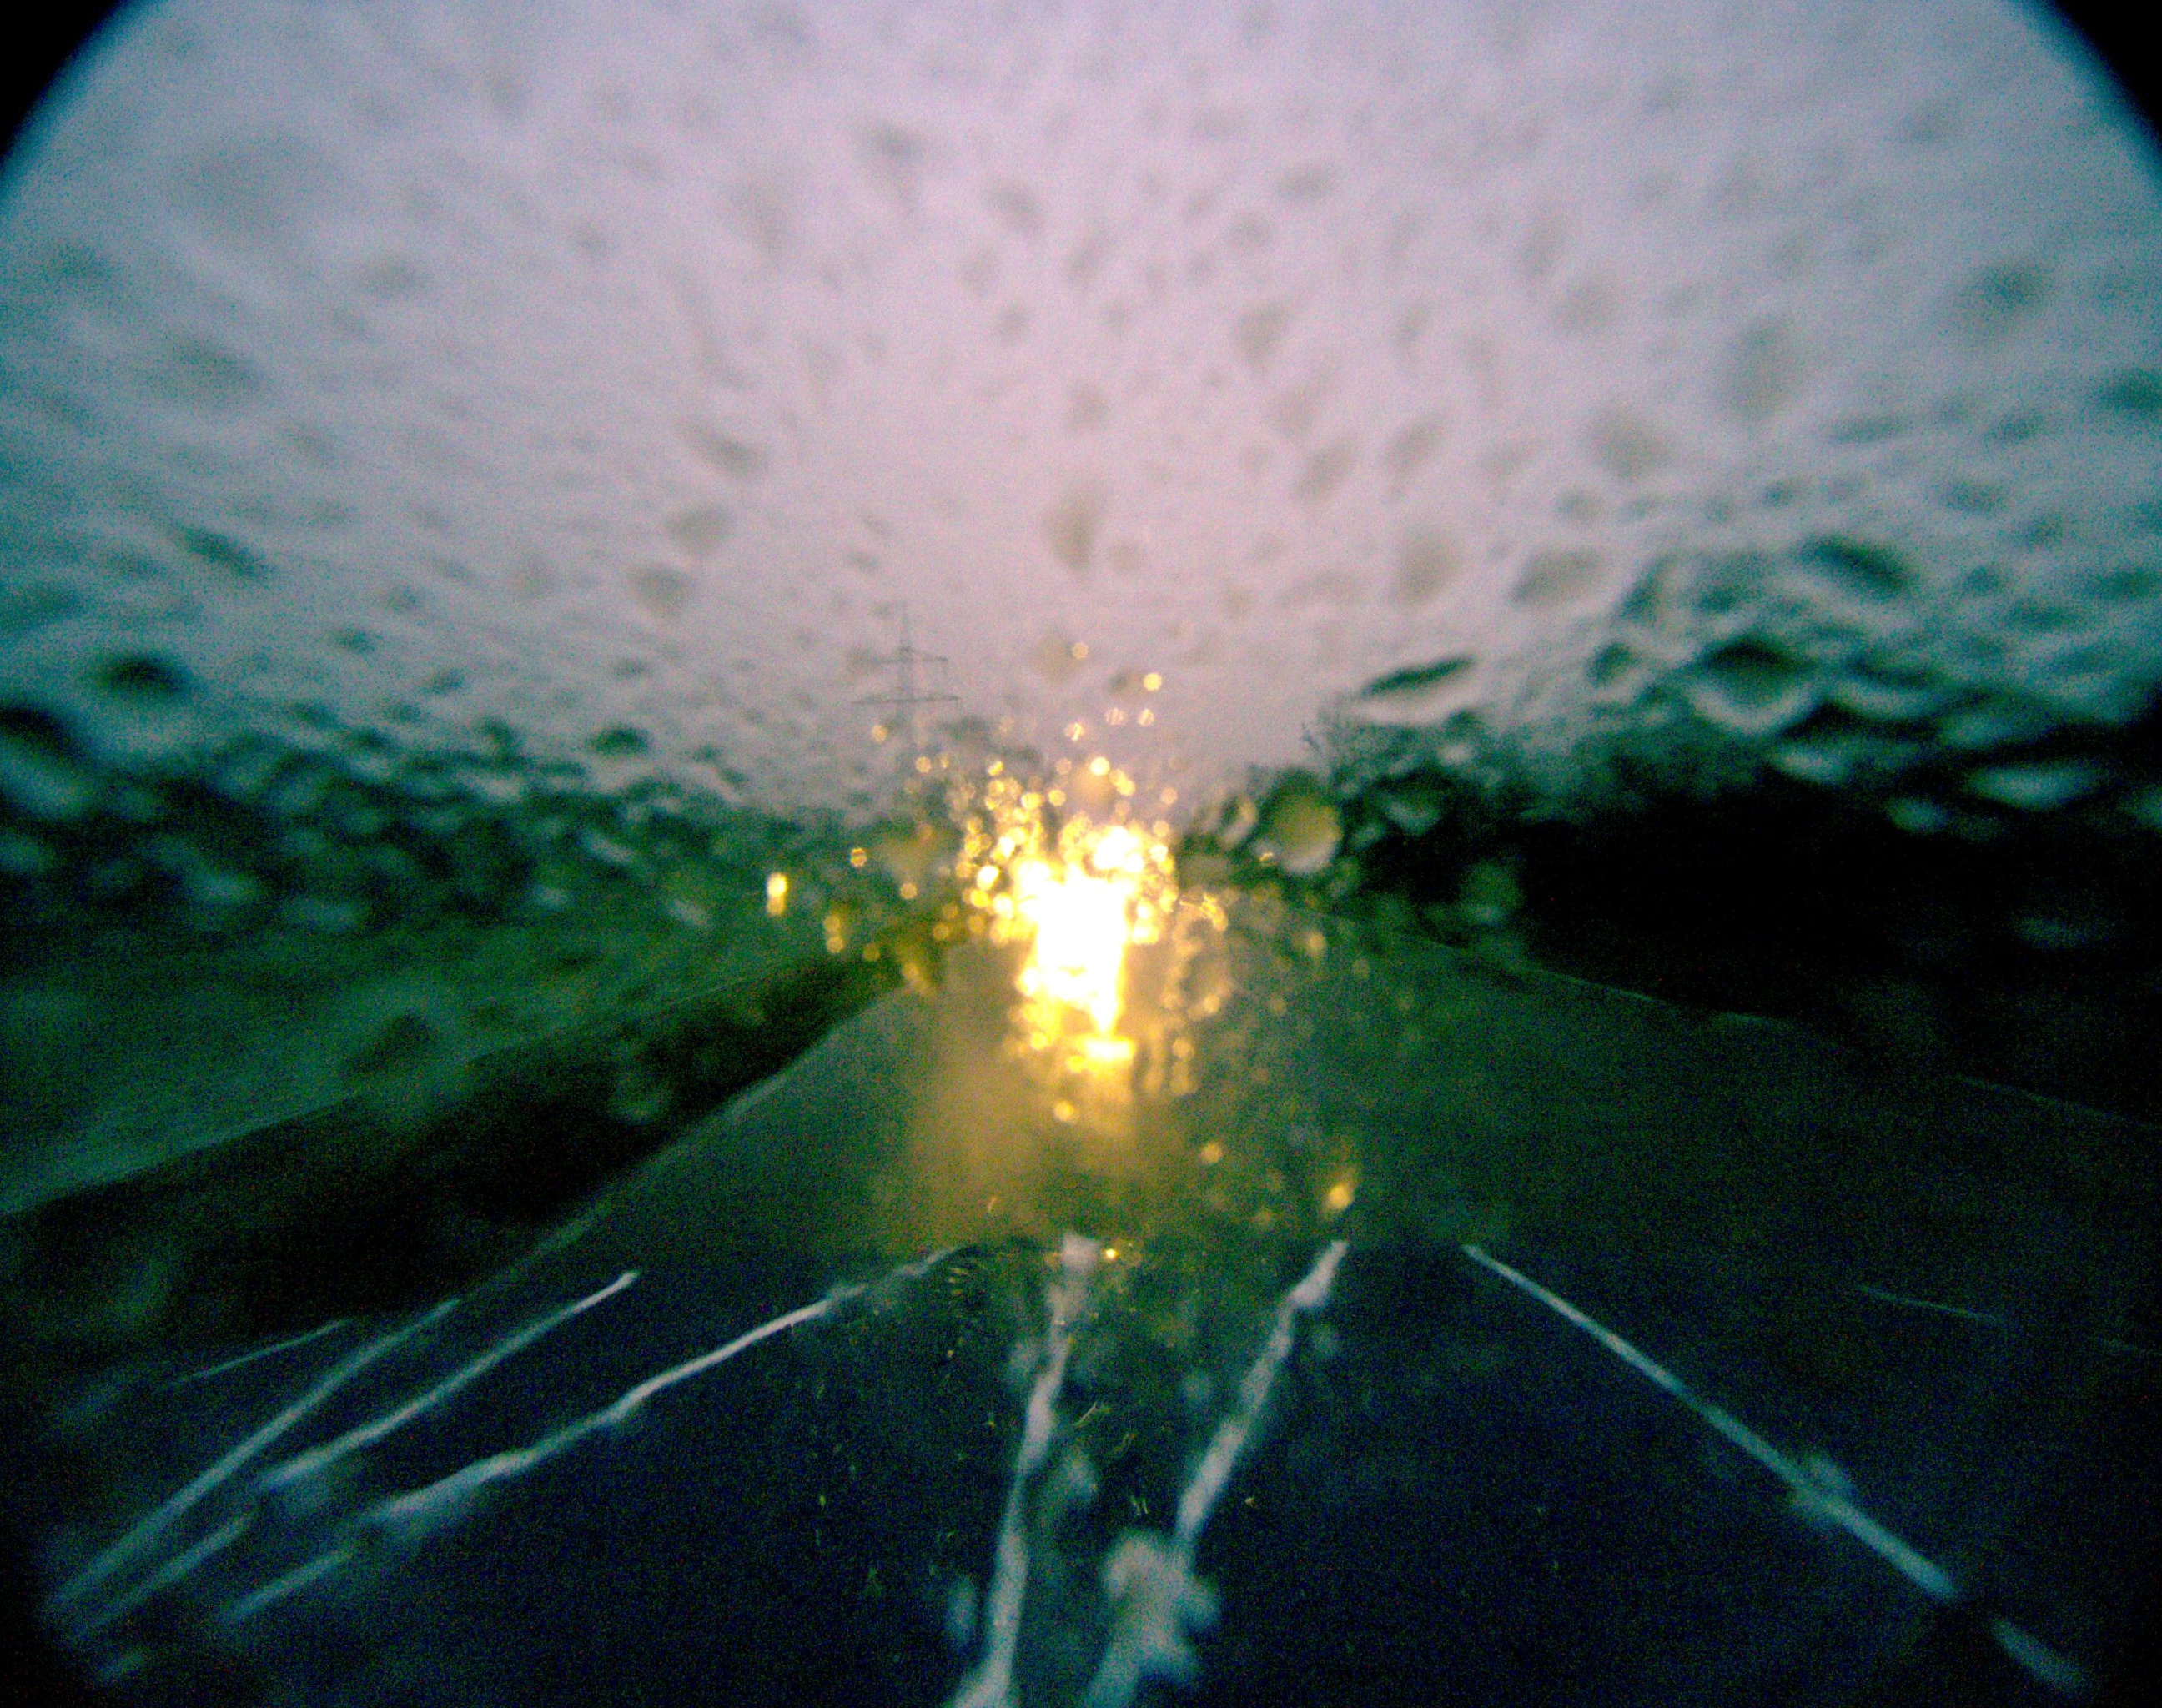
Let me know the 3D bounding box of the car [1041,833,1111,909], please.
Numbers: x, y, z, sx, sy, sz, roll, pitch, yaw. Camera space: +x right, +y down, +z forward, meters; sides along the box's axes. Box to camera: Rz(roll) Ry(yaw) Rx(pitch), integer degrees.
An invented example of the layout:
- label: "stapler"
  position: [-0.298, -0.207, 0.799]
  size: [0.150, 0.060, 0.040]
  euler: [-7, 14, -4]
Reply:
- label: "car"
  position: [-0.050, 0.480, 24.775]
  size: [1.952, 2.195, 4.535]
  euler: [-2, 1, 3]

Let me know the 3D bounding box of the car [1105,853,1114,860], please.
- label: "car"
  position: [6.613, 0.566, 177.093]
  size: [1.912, 1.549, 3.929]
  euler: [-2, 1, 2]
